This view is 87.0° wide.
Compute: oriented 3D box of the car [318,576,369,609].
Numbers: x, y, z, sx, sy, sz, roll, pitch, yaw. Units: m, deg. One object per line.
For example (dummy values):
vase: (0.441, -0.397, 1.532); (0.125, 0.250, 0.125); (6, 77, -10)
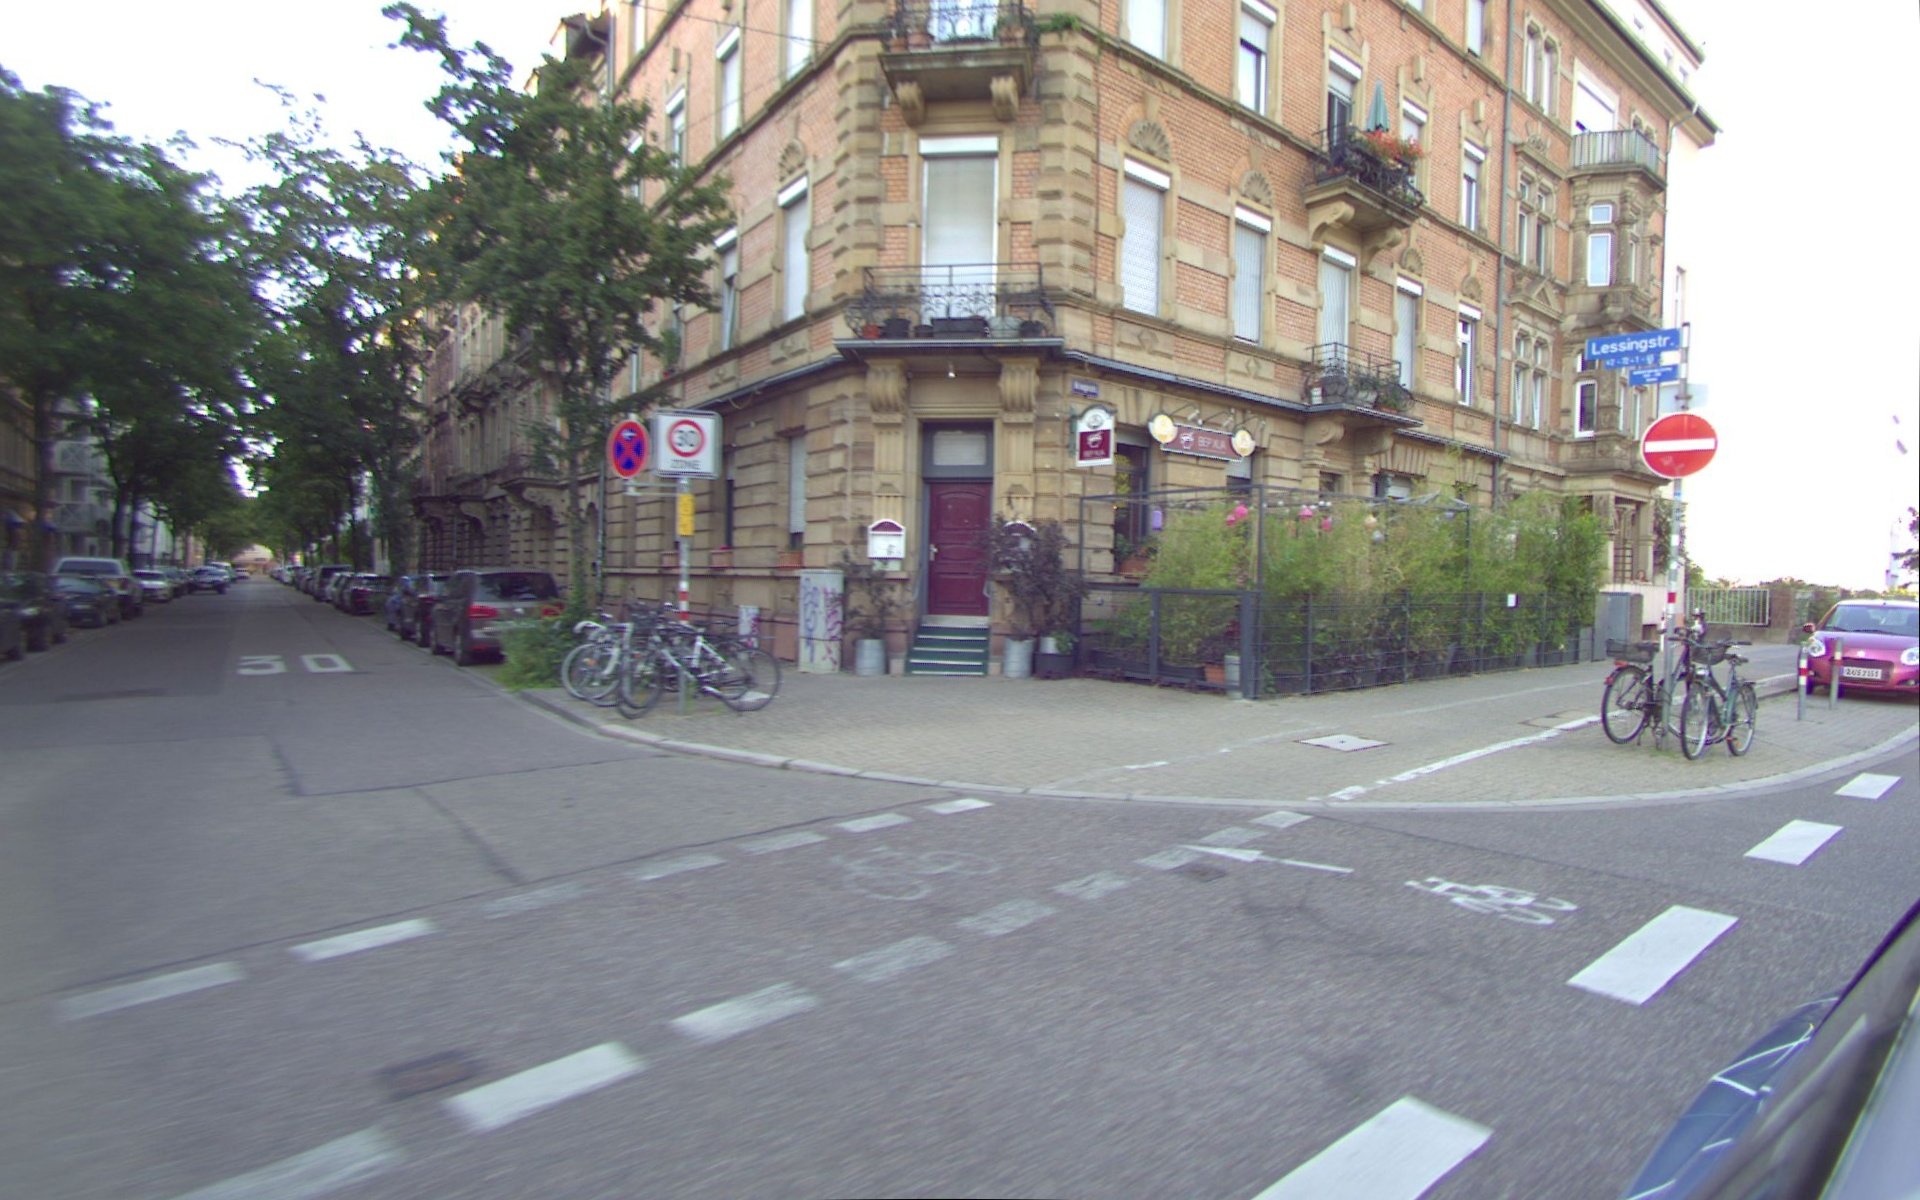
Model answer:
car: (-29.285, -0.388, 48.011); (1.813, 1.499, 4.000); (0, 1, -35)

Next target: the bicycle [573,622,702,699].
bicycle: (-3.948, 0.725, 12.455); (1.468, 0.827, 0.295); (-2, 1, -32)

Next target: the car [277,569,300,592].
car: (-67.266, -1.949, 101.343); (1.813, 2.261, 4.000); (1, 1, -35)

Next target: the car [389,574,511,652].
car: (-11.234, 0.213, 22.152); (1.813, 1.542, 4.000); (0, 1, -35)

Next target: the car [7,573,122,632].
car: (-23.342, 0.017, 26.518); (1.878, 1.410, 3.999); (0, 1, -36)

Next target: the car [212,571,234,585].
car: (-78.103, -2.331, 107.245); (1.813, 1.436, 4.000); (0, 1, -35)

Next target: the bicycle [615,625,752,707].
bicycle: (-3.154, 0.732, 11.595); (1.468, 0.827, 0.295); (-2, 1, -32)

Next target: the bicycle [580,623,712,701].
bicycle: (-3.764, 0.725, 12.188); (1.468, 0.827, 0.295); (-2, 1, -32)

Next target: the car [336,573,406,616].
car: (-21.082, -0.218, 36.161); (1.813, 1.436, 4.000); (0, 1, -35)

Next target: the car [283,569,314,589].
car: (-50.290, -1.589, 76.919); (1.813, 1.499, 4.000); (0, 1, -35)

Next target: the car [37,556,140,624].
car: (-26.113, -0.329, 30.456); (1.944, 1.893, 4.000); (0, 1, -35)

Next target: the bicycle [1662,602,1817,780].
bicycle: (6.959, 0.729, 8.987); (2.225, 1.314, 0.567); (-2, 6, -41)

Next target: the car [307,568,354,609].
car: (-32.316, -0.623, 51.907); (1.813, 1.996, 4.000); (1, 1, -35)

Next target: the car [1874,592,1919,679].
car: (17.915, 0.652, 18.266); (3.614, 1.443, 1.680); (0, 5, -43)

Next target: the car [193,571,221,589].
car: (-63.988, -1.700, 86.010); (1.813, 1.436, 4.000); (0, 1, -35)

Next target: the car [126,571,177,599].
car: (-42.427, -0.798, 53.171); (1.813, 1.436, 4.000); (0, 1, -35)

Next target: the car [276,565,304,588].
car: (-55.857, -1.977, 84.339); (1.813, 1.859, 4.000); (0, 1, -35)

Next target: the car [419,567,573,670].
car: (-8.415, 0.248, 18.170); (1.813, 1.626, 4.000); (0, 1, -35)

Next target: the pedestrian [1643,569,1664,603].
pedestrian: (18.237, -0.367, 26.619); (0.313, 0.881, 0.310); (0, -1, -8)

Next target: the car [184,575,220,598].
car: (-46.562, -0.852, 62.205); (1.670, 1.351, 4.000); (0, 1, -35)

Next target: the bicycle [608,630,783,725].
bicycle: (-2.673, 0.766, 10.344); (1.701, 0.827, 0.295); (-2, 1, -32)

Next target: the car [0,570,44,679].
car: (-15.443, 0.283, 15.209); (1.962, 1.527, 3.999); (4, -1, -36)

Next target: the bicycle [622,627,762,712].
bicycle: (-2.983, 0.759, 11.327); (1.468, 0.827, 0.295); (-2, 1, -32)

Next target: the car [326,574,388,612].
car: (-24.333, -0.293, 40.778); (1.813, 1.436, 4.000); (0, 1, -35)

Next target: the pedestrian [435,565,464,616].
pedestrian: (-17.272, -0.332, 34.223); (0.783, 1.691, 0.589); (0, 1, -37)

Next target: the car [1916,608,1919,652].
car: (25.251, 0.597, 25.043); (4.387, 1.465, 1.892); (0, 5, -42)

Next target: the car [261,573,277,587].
car: (-98.159, -2.785, 143.695); (1.813, 1.913, 4.000); (0, 1, -35)

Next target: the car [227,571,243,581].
car: (-107.741, -3.622, 150.454); (1.813, 1.436, 4.000); (0, 1, -35)

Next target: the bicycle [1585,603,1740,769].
bicycle: (6.581, 0.728, 9.429); (2.225, 1.290, 0.567); (-2, 6, -41)

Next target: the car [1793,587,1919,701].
car: (14.447, 0.630, 15.620); (3.483, 1.482, 1.731); (0, 4, -39)

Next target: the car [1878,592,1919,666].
car: (21.288, 0.638, 21.644); (4.266, 1.443, 1.892); (0, 4, -41)

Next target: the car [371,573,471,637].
car: (-14.139, 0.075, 26.446); (1.813, 1.542, 4.000); (0, 1, -35)

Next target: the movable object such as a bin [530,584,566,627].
movable object such as a bin: (-11.077, 0.138, 27.216); (0.745, 1.142, 0.695); (0, 1, -38)

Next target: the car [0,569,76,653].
car: (-18.314, 0.150, 19.264); (1.878, 1.475, 3.999); (0, 1, -36)

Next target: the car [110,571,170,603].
car: (-36.731, -0.588, 45.416); (1.813, 1.375, 4.000); (0, 1, -35)
